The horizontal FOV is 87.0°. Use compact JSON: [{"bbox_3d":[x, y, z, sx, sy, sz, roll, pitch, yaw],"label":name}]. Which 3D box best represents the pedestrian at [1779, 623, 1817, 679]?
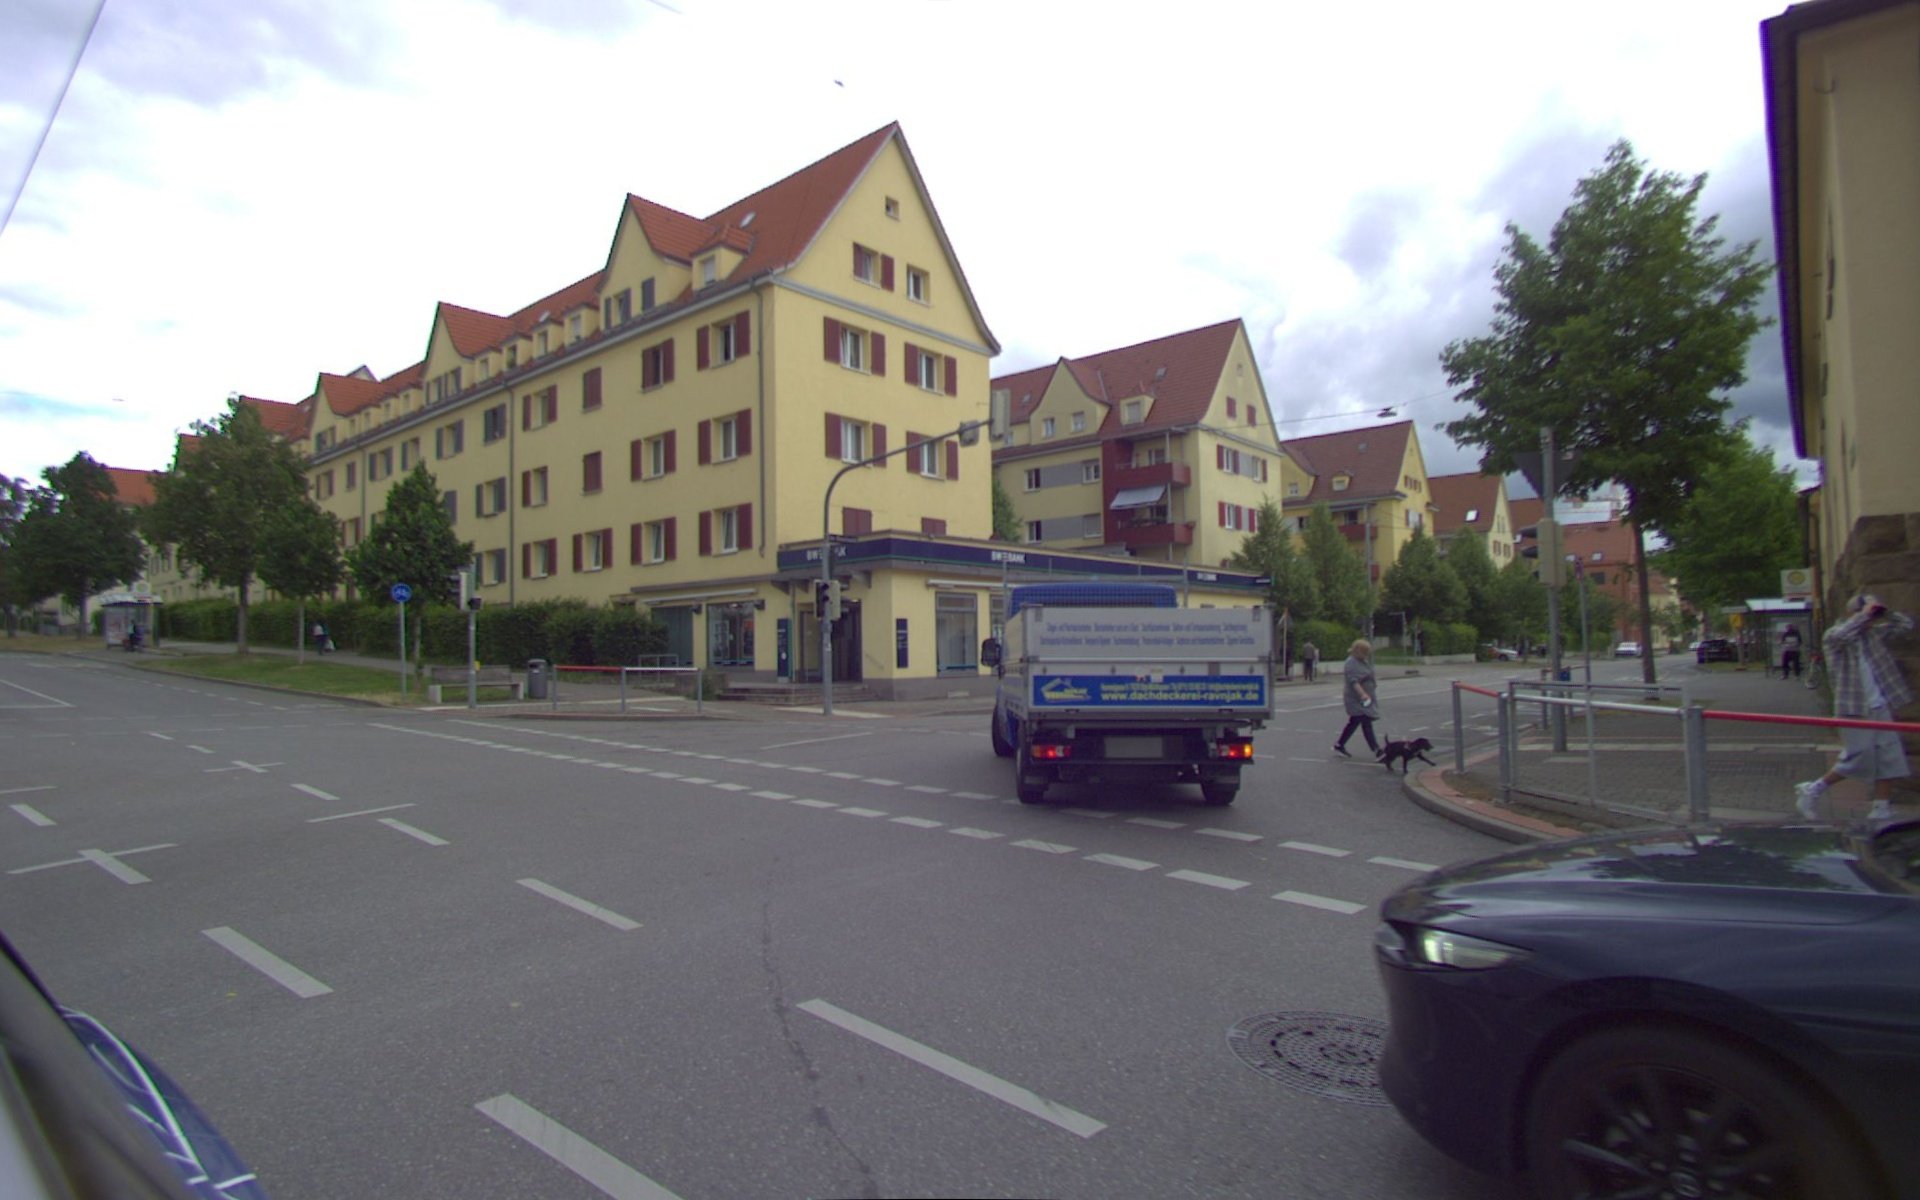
[{"bbox_3d":[26.691,1.618,32.241,0.639,1.763,0.779,1,-2,-37],"label":"pedestrian"}]

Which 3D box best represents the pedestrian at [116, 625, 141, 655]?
[{"bbox_3d":[-43.703,2.094,53.175,0.806,1.521,0.890,-2,-1,41],"label":"pedestrian"}]

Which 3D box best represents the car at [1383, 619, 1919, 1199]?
[{"bbox_3d":[3.123,0.776,1.640,4.194,1.425,1.683,-2,-5,45],"label":"car"}]

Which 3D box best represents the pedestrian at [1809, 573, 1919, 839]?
[{"bbox_3d":[6.496,0.722,7.152,0.716,1.790,0.558,-2,-2,40],"label":"pedestrian"}]

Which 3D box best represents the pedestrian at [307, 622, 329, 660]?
[{"bbox_3d":[-28.041,1.784,44.225,0.617,1.631,0.634,-2,-2,39],"label":"pedestrian"}]

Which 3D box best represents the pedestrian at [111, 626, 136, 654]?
[{"bbox_3d":[-44.712,2.140,54.087,0.806,1.485,0.890,-2,-1,41],"label":"pedestrian"}]

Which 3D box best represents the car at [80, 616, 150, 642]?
[{"bbox_3d":[-78.152,2.690,93.618,1.994,2.270,4.669,-1,-2,41],"label":"car"}]

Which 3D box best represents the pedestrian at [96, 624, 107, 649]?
[{"bbox_3d":[-61.906,2.623,72.964,0.752,1.793,0.508,-2,-2,40],"label":"pedestrian"}]

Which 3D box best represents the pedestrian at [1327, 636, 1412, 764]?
[{"bbox_3d":[5.289,1.260,13.079,0.557,1.578,0.843,1,-2,-44],"label":"pedestrian"}]

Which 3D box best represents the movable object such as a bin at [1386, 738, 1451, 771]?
[{"bbox_3d":[5.244,1.765,11.583,0.302,0.350,0.582,1,-7,-38],"label":"movable object such as a bin"}]

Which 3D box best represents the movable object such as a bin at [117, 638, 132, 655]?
[{"bbox_3d":[-43.802,2.430,53.065,0.665,0.852,0.531,-2,-1,42],"label":"movable object such as a bin"}]

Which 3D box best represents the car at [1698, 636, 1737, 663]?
[{"bbox_3d":[46.801,3.044,62.593,1.844,1.550,3.951,-1,-2,36],"label":"car"}]

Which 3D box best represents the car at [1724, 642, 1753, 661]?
[{"bbox_3d":[67.170,4.419,87.392,1.844,1.550,3.951,-1,-2,36],"label":"car"}]

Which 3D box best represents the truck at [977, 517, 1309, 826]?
[{"bbox_3d":[1.530,0.713,11.302,2.269,2.446,6.413,1,-3,-2],"label":"truck"}]

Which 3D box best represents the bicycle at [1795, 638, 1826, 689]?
[{"bbox_3d":[22.538,1.651,26.840,0.514,1.276,2.294,-2,-2,38],"label":"bicycle"}]

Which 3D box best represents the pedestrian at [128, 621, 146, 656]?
[{"bbox_3d":[-41.904,1.965,51.538,0.861,1.740,0.591,-1,-2,43],"label":"pedestrian"}]

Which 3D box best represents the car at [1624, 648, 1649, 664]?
[{"bbox_3d":[67.016,5.554,100.324,1.698,1.480,3.960,-1,-2,29],"label":"car"}]
